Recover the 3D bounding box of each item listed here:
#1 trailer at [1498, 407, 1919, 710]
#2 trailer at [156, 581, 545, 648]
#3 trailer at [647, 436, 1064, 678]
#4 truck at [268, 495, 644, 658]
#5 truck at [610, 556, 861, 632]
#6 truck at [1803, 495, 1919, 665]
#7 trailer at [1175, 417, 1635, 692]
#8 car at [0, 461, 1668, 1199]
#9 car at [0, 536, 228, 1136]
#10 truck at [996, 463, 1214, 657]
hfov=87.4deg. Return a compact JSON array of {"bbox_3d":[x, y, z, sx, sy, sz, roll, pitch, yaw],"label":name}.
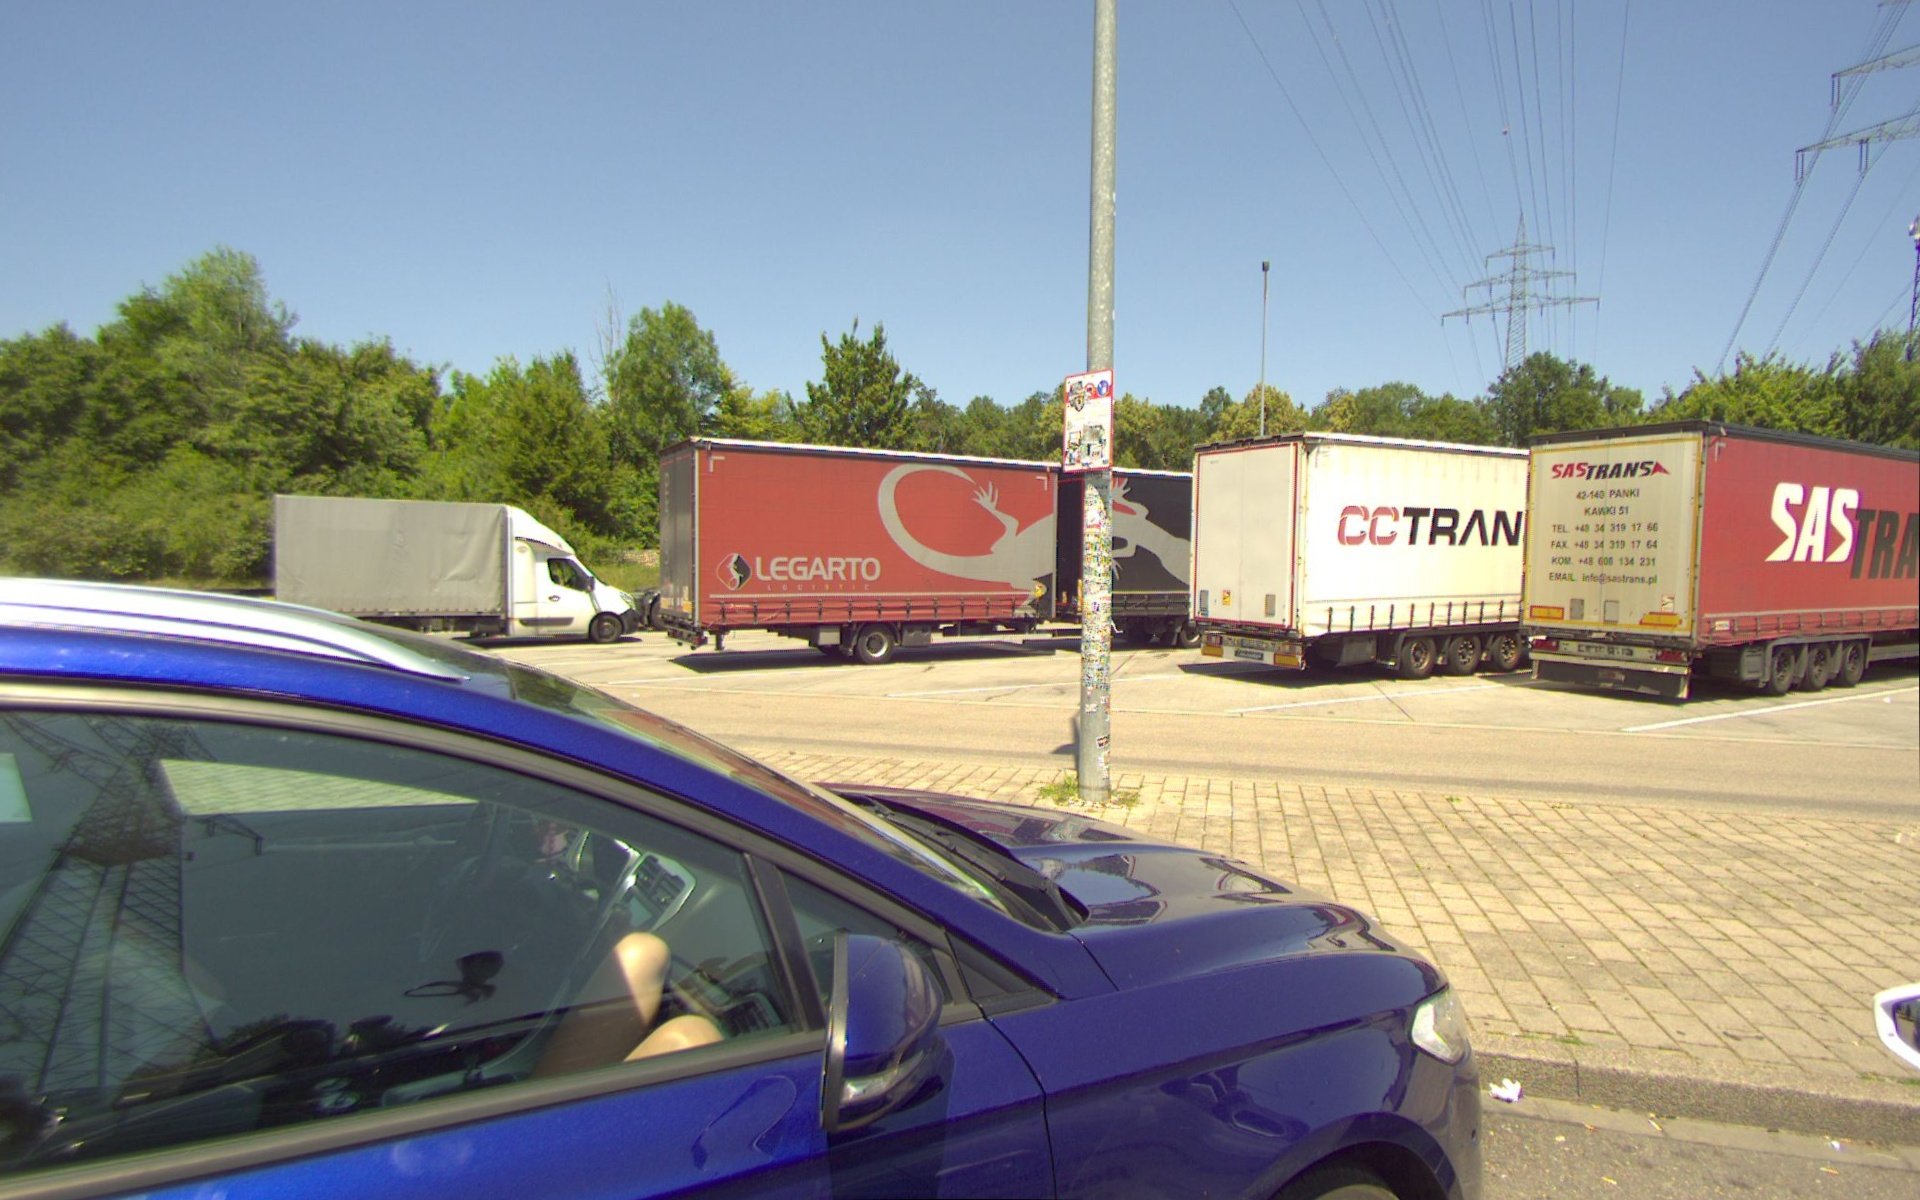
[{"bbox_3d":[15.399,-0.710,18.563,13.559,4.189,2.892,-1,3,-30],"label":"trailer"},{"bbox_3d":[-14.837,0.265,25.185,7.996,1.394,2.211,-1,3,-30],"label":"trailer"},{"bbox_3d":[-1.933,-0.830,20.266,7.996,4.101,2.696,-1,3,-30],"label":"trailer"},{"bbox_3d":[-11.209,-0.569,22.902,7.254,3.254,2.515,-1,3,-30],"label":"truck"},{"bbox_3d":[-6.489,-0.161,29.525,6.961,2.040,1.984,0,0,-30],"label":"truck"},{"bbox_3d":[21.721,-0.442,22.308,5.418,3.475,2.838,-1,3,-30],"label":"truck"},{"bbox_3d":[8.860,-0.825,19.328,10.049,4.267,2.714,-1,3,-30],"label":"trailer"},{"bbox_3d":[-0.985,0.655,1.469,4.592,1.502,1.727,0,0,-33],"label":"car"},{"bbox_3d":[-4.558,0.584,2.254,4.592,1.554,1.726,0,1,-33],"label":"car"},{"bbox_3d":[3.349,-0.907,23.361,4.273,4.072,2.689,-1,3,-30],"label":"truck"}]
